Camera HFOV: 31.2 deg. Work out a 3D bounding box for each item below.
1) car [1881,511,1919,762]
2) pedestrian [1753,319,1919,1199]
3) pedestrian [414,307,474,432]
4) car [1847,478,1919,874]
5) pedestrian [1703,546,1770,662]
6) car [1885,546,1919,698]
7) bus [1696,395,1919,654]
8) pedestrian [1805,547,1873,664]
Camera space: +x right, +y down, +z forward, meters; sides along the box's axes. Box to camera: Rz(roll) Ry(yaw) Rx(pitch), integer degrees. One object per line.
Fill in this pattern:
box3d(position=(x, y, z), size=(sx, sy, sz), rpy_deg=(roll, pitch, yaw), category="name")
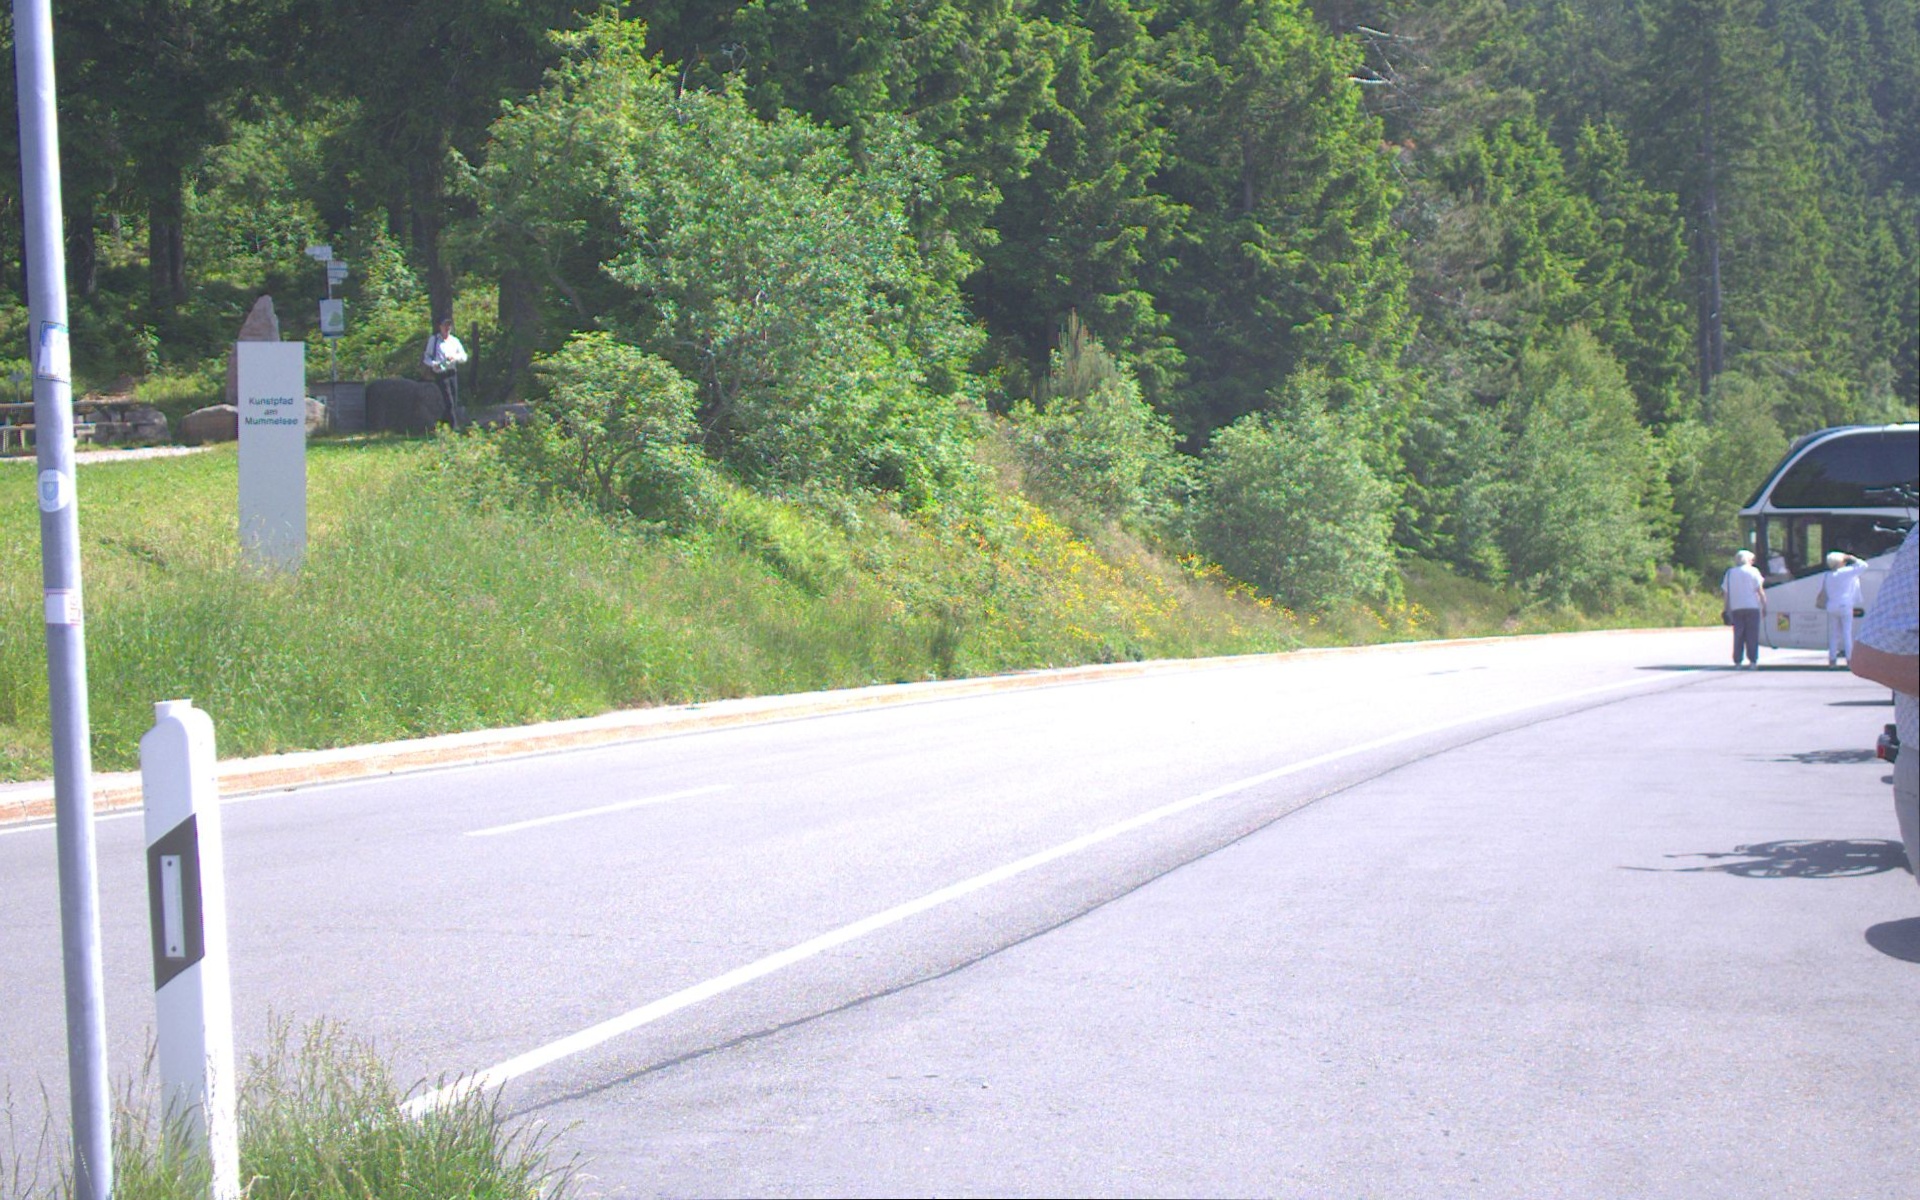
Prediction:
box3d(position=(8.779, 0.171, 22.955), size=(5.037, 1.645, 2.046), rpy_deg=(-1, 1, 15), category="car")
box3d(position=(2.087, 0.392, 6.715), size=(0.756, 1.864, 0.737), rpy_deg=(-3, 4, -45), category="pedestrian")
box3d(position=(-7.946, -3.545, 52.961), size=(0.681, 1.871, 0.541), rpy_deg=(-2, 0, 18), category="pedestrian")
box3d(position=(6.462, 0.278, 14.924), size=(4.953, 1.690, 1.943), rpy_deg=(-1, 1, 17), category="car")
box3d(position=(10.771, 0.053, 47.681), size=(0.771, 1.579, 0.771), rpy_deg=(-1, 0, 22), category="pedestrian")
box3d(position=(11.022, 0.157, 33.229), size=(3.990, 1.444, 1.860), rpy_deg=(-1, 1, 15), category="car")
box3d(position=(16.998, -1.151, 47.117), size=(13.111, 3.520, 3.039), rpy_deg=(-1, 1, 25), category="bus")
box3d(position=(12.088, 0.067, 47.274), size=(0.771, 1.579, 0.771), rpy_deg=(-1, 0, 22), category="pedestrian")
